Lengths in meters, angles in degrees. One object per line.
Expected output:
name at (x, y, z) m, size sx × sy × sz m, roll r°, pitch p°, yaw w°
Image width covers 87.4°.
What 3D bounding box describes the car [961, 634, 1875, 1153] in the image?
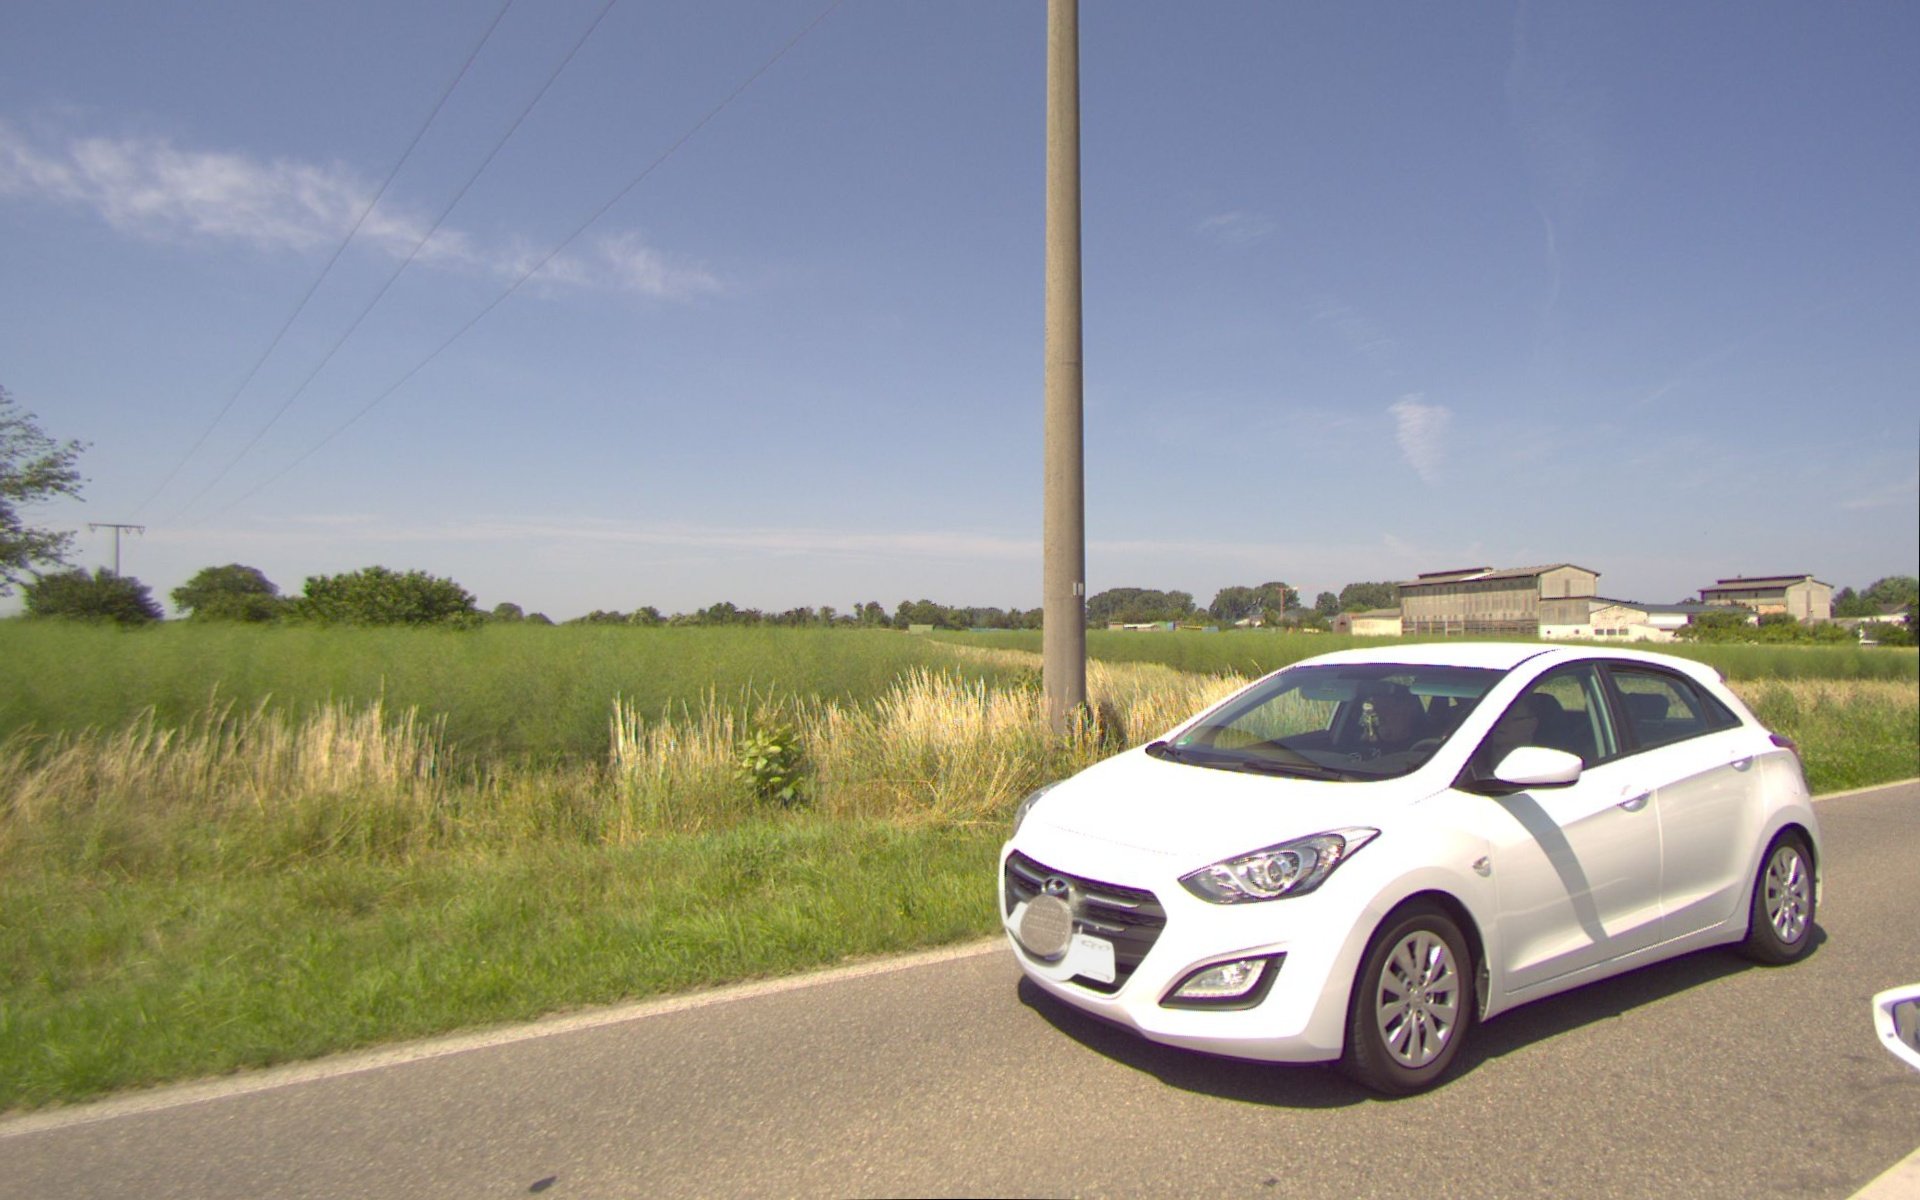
car at (2.223, 0.893, 4.626) m, size 4.137 × 1.428 × 1.783 m, roll 1°, pitch -3°, yaw -30°
